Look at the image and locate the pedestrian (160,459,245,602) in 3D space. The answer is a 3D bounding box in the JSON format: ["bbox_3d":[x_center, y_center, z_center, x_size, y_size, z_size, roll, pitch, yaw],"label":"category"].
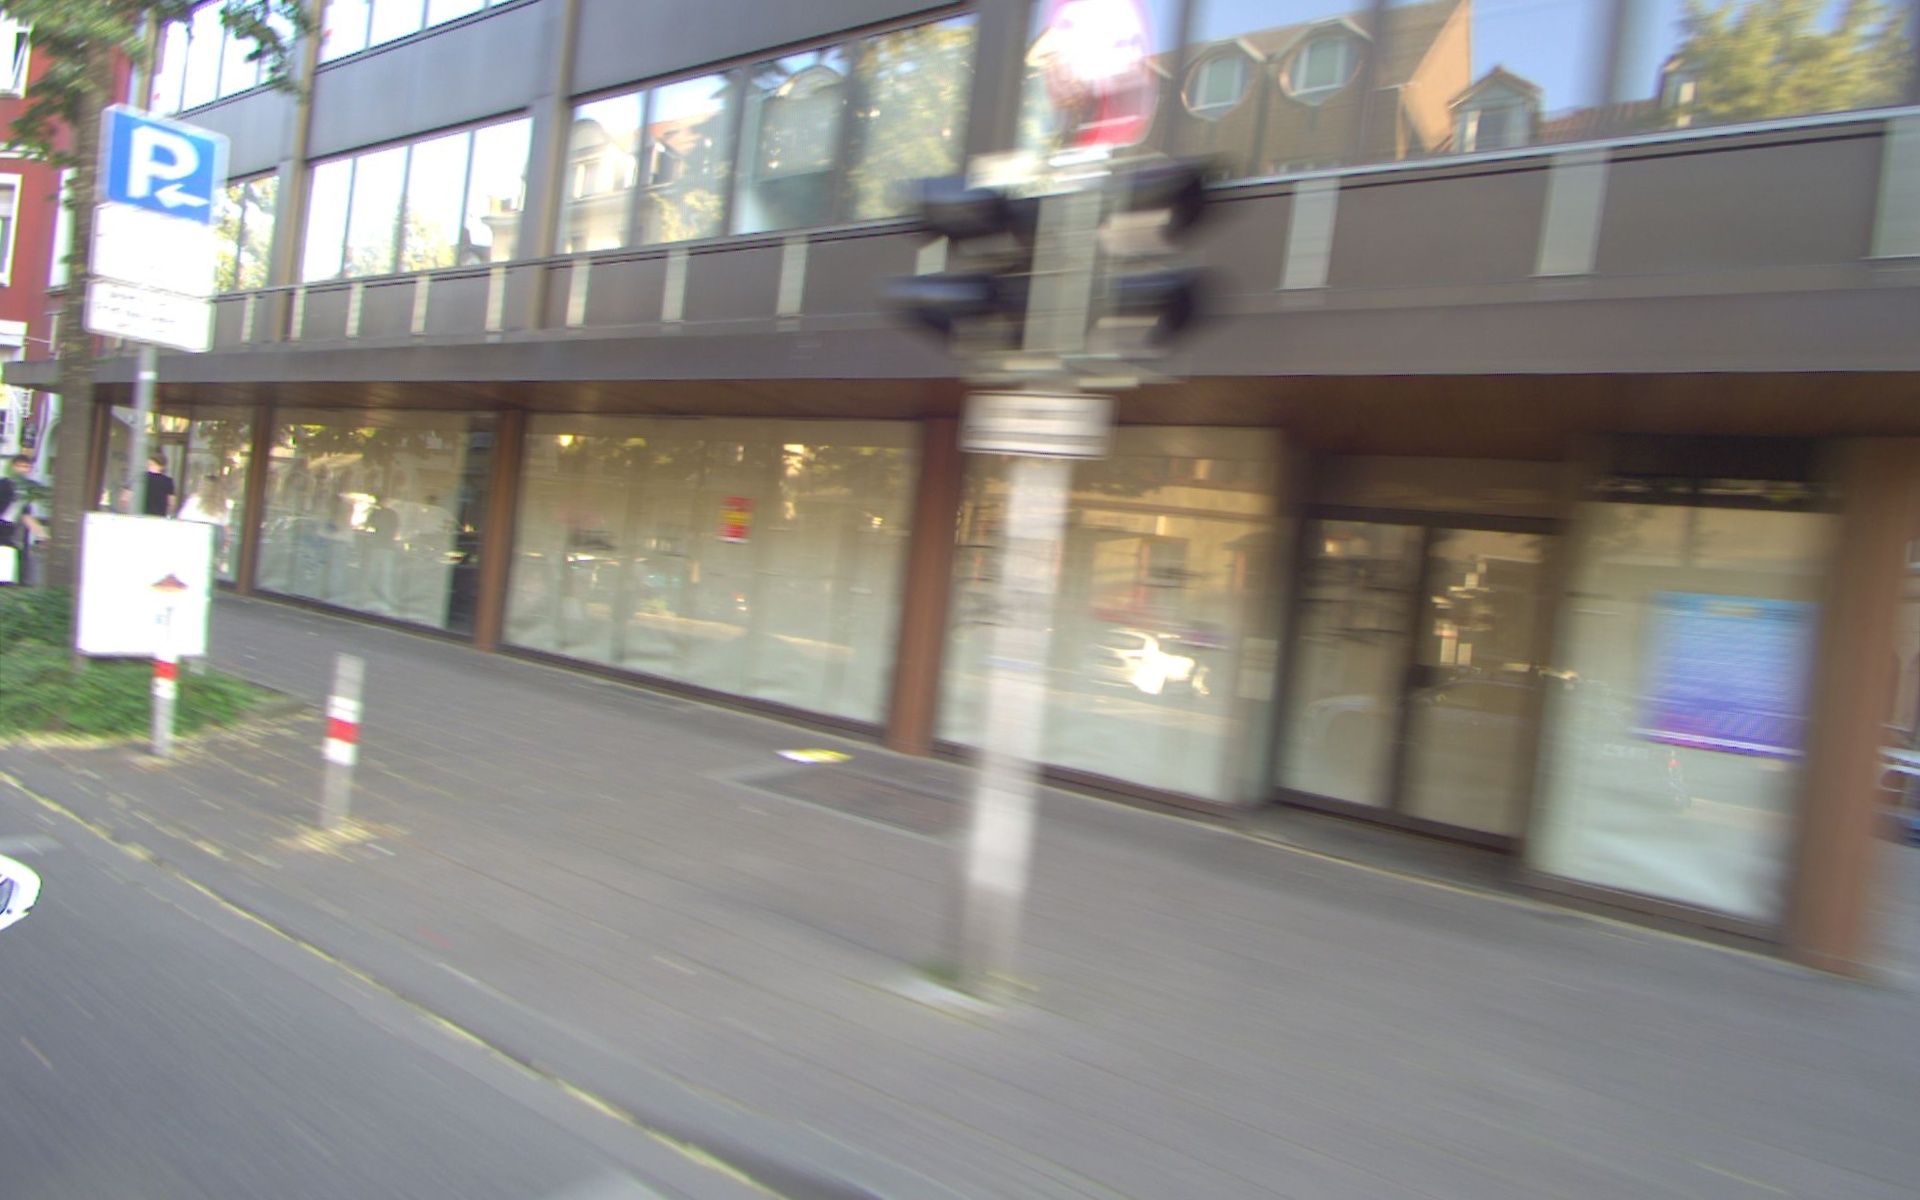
[{"bbox_3d":[-10.288,-0.942,13.655,0.822,1.834,0.589,7,4,32],"label":"pedestrian"}]

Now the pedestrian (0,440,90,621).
[{"bbox_3d":[-10.013,-0.749,10.471,0.927,1.810,1.049,6,3,6],"label":"pedestrian"}]

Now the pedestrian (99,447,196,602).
[{"bbox_3d":[-10.494,-0.970,12.990,0.960,1.893,0.625,7,4,32],"label":"pedestrian"}]

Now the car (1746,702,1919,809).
[{"bbox_3d":[19.664,3.364,21.742,1.942,1.669,4.769,8,0,9],"label":"car"}]
